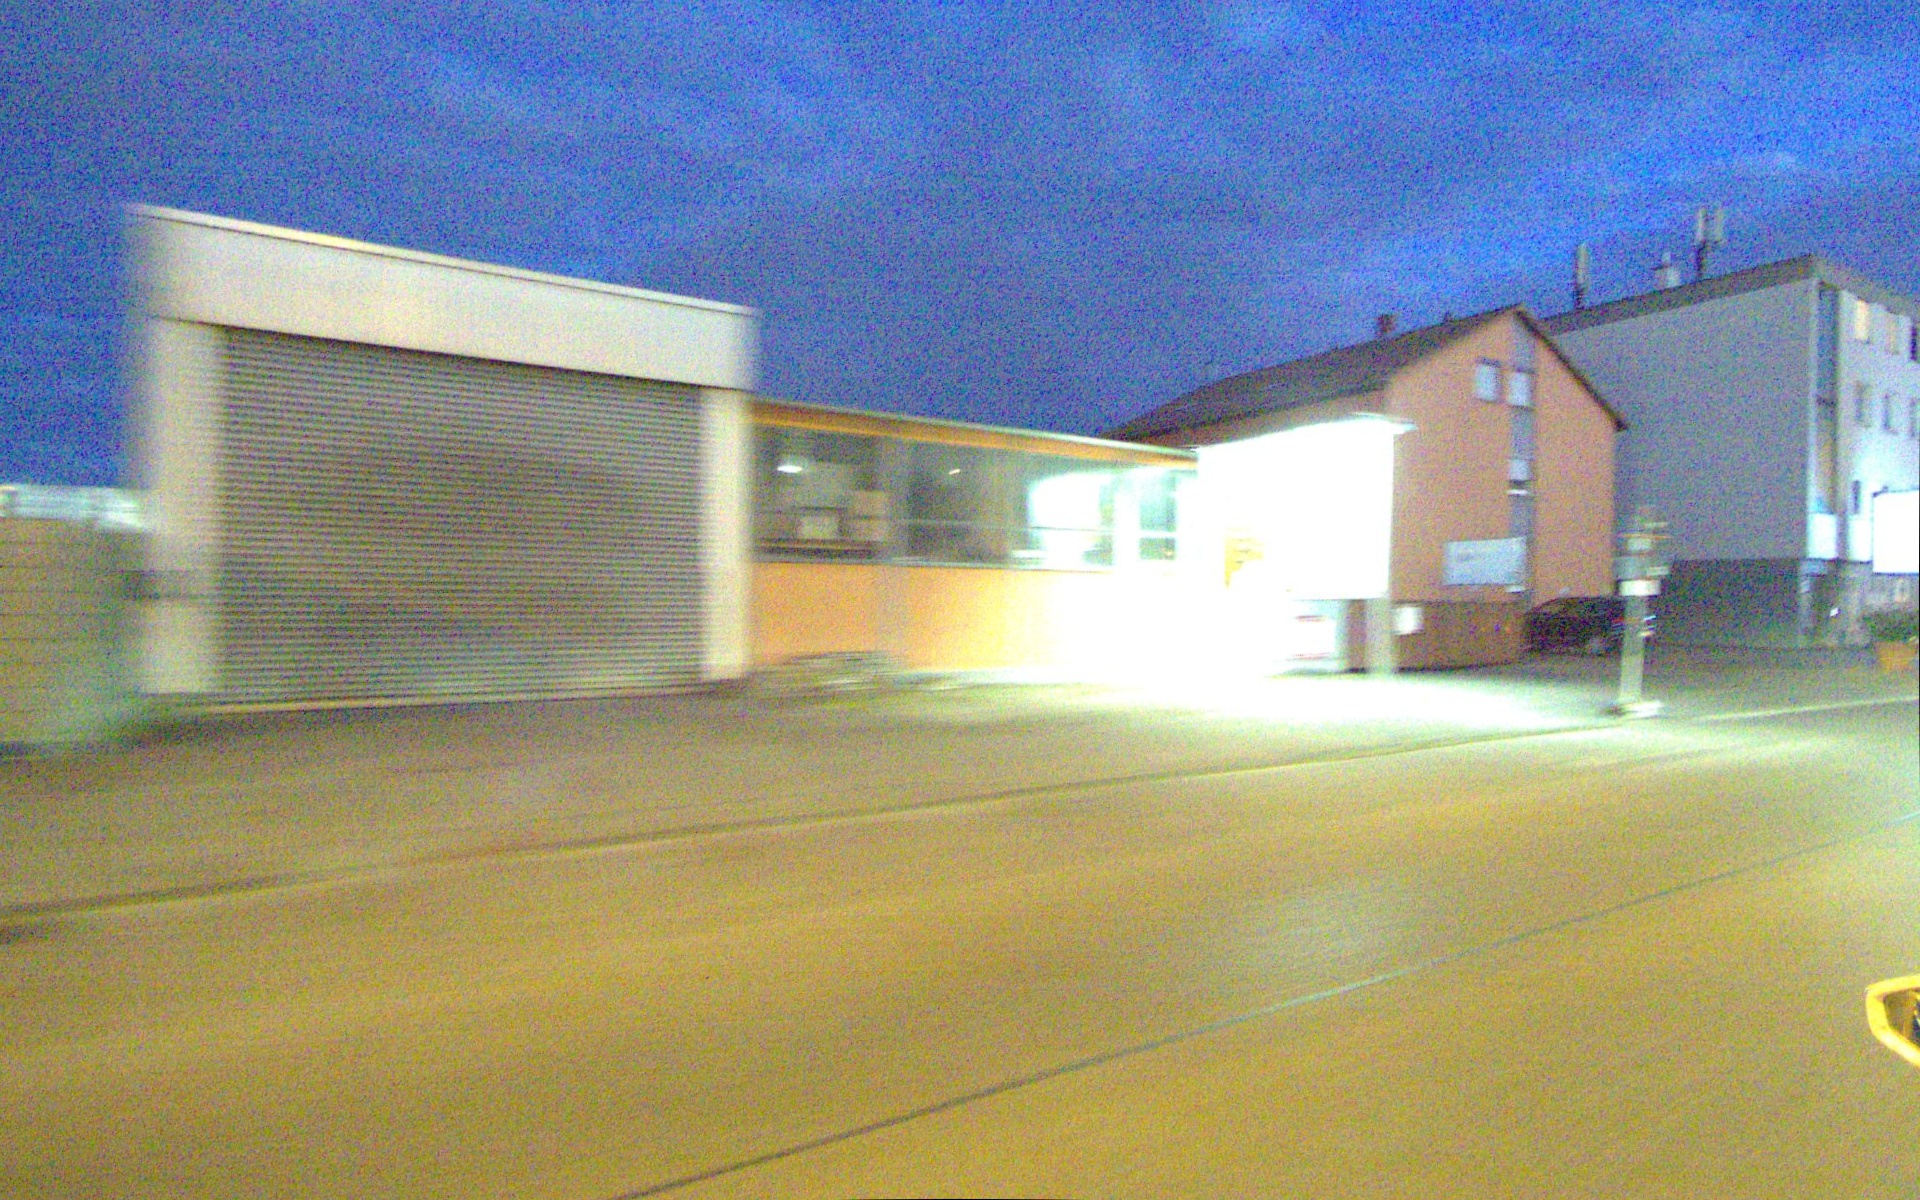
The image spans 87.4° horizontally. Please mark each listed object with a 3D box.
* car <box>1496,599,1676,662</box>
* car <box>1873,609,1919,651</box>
[{"bbox_3d":[17.963,0.840,28.983,1.978,1.673,3.965,0,-1,-32],"label":"car"},{"bbox_3d":[36.034,1.091,36.121,4.556,1.505,1.992,0,-1,38],"label":"car"}]
